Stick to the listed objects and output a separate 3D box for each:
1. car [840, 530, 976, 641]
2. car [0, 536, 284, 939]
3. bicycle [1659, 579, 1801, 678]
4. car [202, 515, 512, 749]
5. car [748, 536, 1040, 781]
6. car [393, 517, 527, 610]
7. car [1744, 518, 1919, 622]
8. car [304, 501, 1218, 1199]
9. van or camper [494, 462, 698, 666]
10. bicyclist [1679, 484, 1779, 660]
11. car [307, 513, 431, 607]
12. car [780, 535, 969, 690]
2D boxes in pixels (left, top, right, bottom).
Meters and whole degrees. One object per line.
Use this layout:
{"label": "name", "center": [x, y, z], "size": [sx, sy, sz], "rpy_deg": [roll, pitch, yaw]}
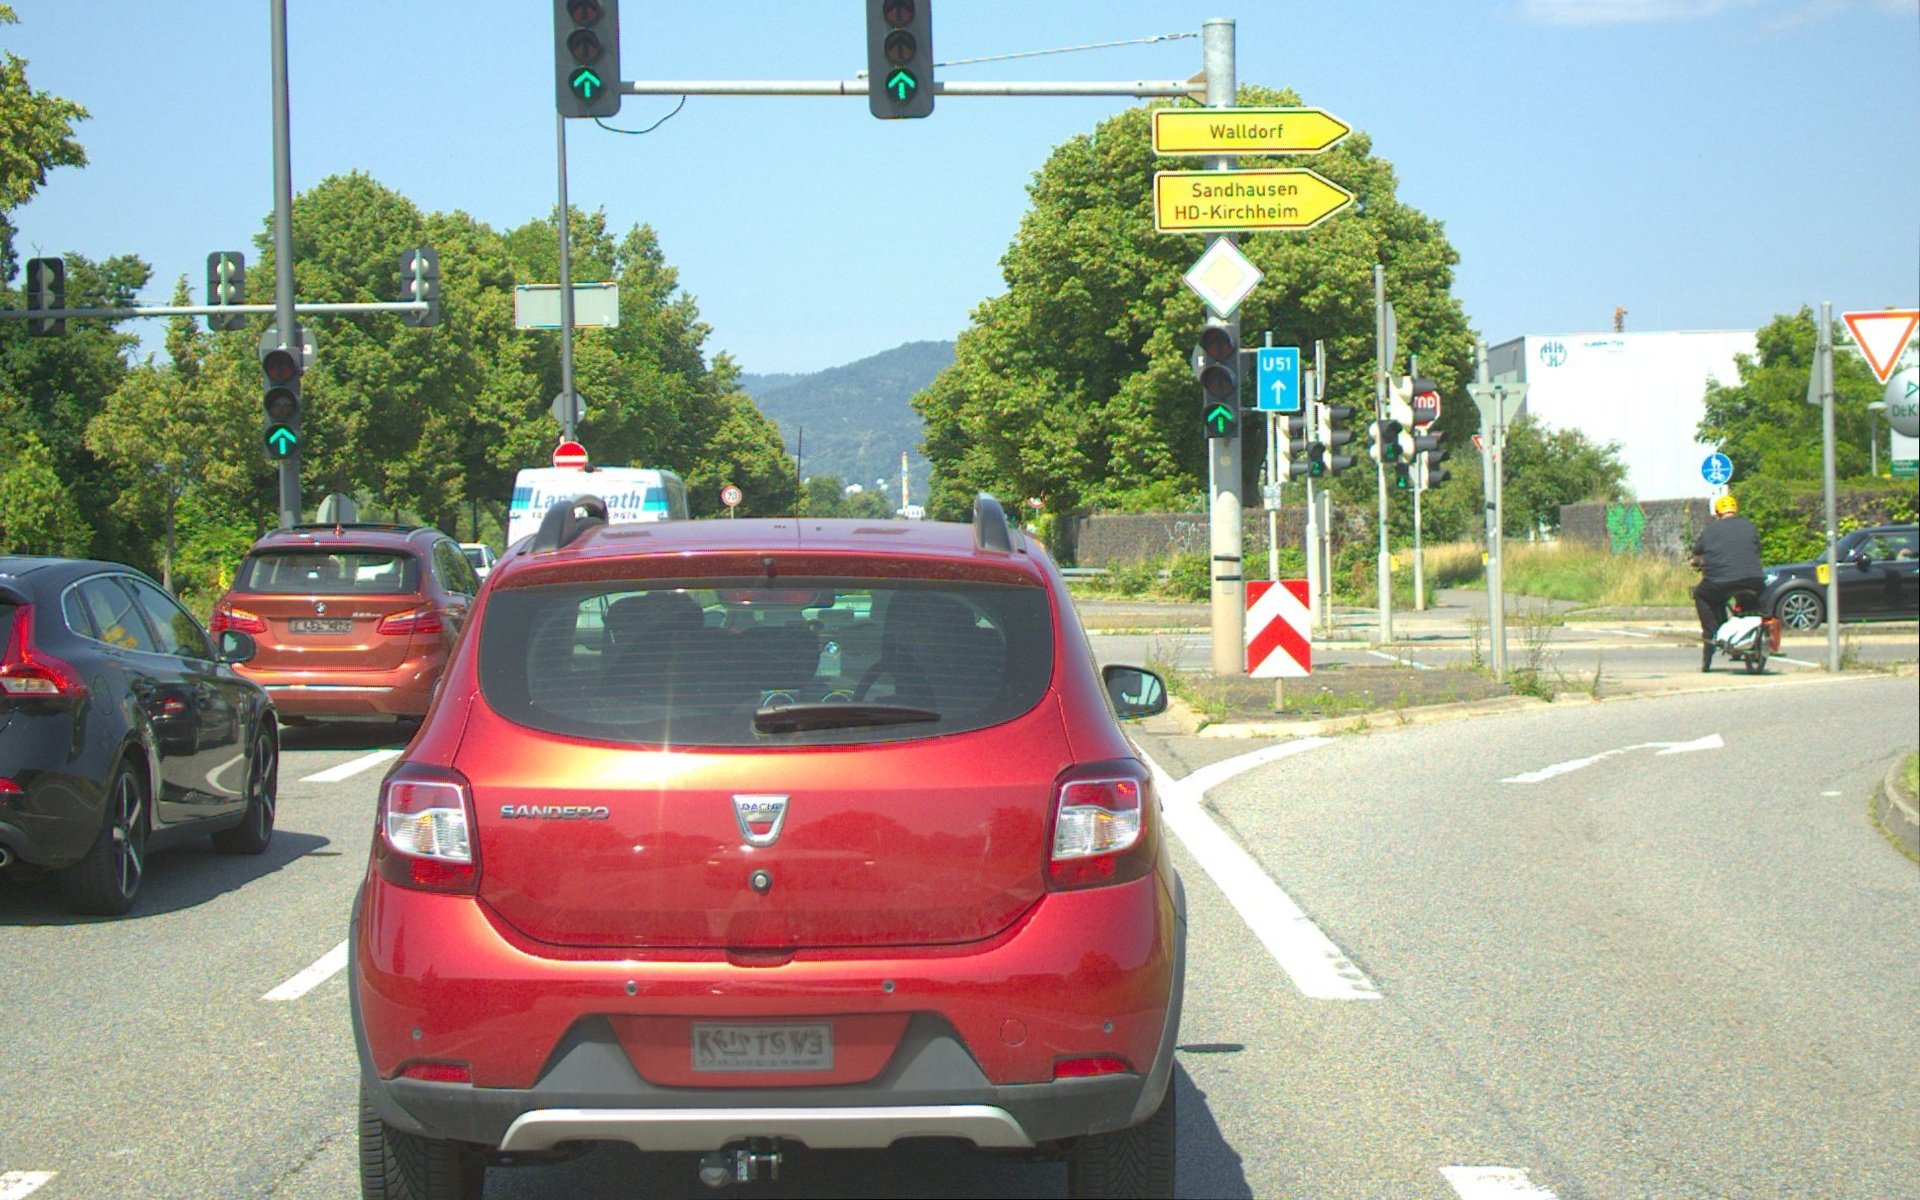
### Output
{"label": "car", "center": [-0.681, -0.233, 47.236], "size": [1.749, 1.453, 3.676], "rpy_deg": [0, 1, 1]}
{"label": "car", "center": [-4.132, 0.471, 14.693], "size": [1.702, 1.437, 3.956], "rpy_deg": [1, 2, 0]}
{"label": "bicycle", "center": [7.902, 0.276, 35.408], "size": [0.761, 0.911, 2.780], "rpy_deg": [-1, 1, -1]}
{"label": "car", "center": [-4.397, 0.177, 25.573], "size": [1.724, 1.594, 3.956], "rpy_deg": [0, 1, -2]}
{"label": "car", "center": [-0.365, 0.321, 22.519], "size": [1.749, 1.453, 3.676], "rpy_deg": [0, 1, 1]}
{"label": "car", "center": [-9.430, -0.717, 65.064], "size": [1.993, 1.664, 4.000], "rpy_deg": [-1, 1, -1]}
{"label": "car", "center": [12.602, -0.425, 46.096], "size": [3.989, 1.322, 1.805], "rpy_deg": [-1, 1, 11]}
{"label": "car", "center": [-0.350, 0.562, 8.417], "size": [1.749, 1.570, 3.676], "rpy_deg": [0, 1, 1]}
{"label": "van or camper", "center": [-4.317, -0.455, 41.469], "size": [2.179, 2.295, 4.827], "rpy_deg": [0, 1, -3]}
{"label": "bicyclist", "center": [7.890, -0.291, 35.301], "size": [0.802, 1.765, 0.809], "rpy_deg": [-1, 1, -1]}
{"label": "car", "center": [-12.979, -0.907, 75.811], "size": [1.993, 1.973, 5.017], "rpy_deg": [-1, 1, -2]}
{"label": "car", "center": [-0.809, 0.085, 34.607], "size": [1.749, 1.453, 3.676], "rpy_deg": [0, 1, 1]}
